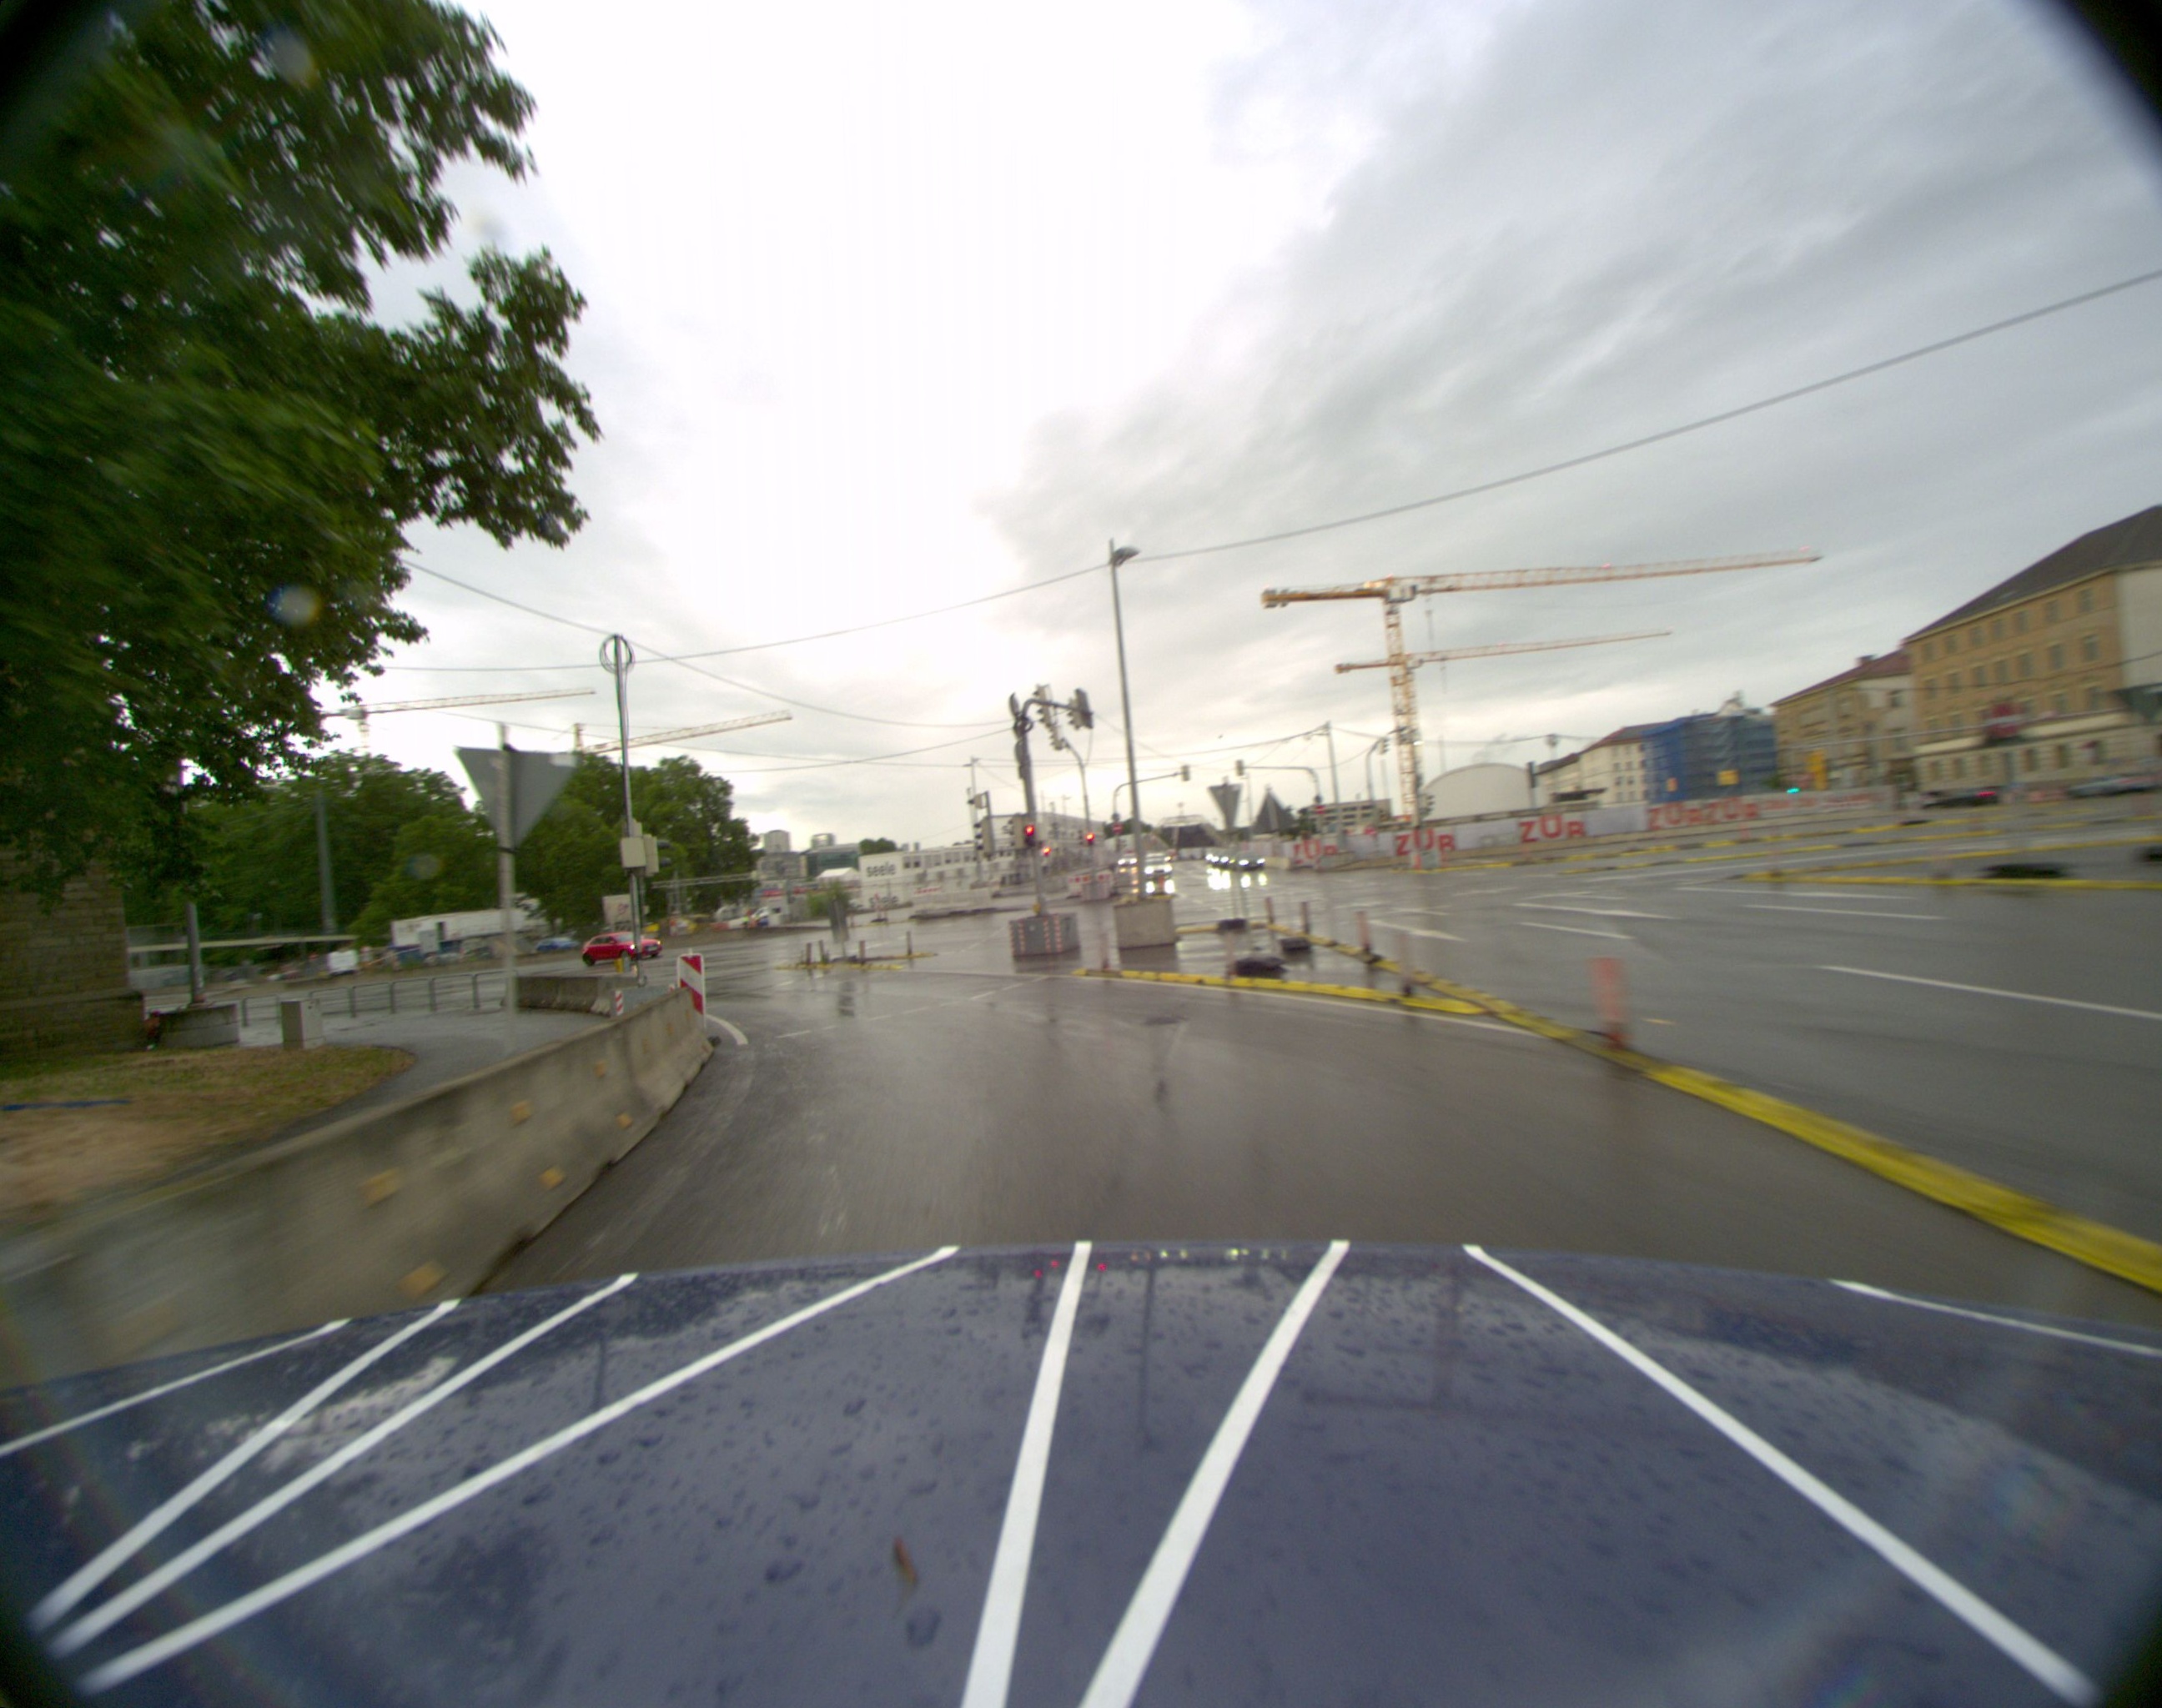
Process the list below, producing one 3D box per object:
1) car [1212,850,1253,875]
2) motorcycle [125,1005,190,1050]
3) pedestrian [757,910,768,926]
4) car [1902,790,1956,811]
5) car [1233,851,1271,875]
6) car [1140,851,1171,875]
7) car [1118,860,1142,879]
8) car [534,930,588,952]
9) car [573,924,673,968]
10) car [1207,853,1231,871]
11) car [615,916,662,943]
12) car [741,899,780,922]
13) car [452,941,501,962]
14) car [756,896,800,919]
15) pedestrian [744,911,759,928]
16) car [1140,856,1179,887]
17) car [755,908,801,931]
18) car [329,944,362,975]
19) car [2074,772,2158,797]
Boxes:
[{"bbox_3d":[12.339,0.716,62.160,1.999,1.707,4.423,-7,-1,-4],"label":"car"},{"bbox_3d":[-26.562,4.993,21.855,1.895,1.131,0.549,-7,-1,21],"label":"motorcycle"},{"bbox_3d":[-29.193,5.845,69.634,0.745,1.344,0.837,-7,0,-15],"label":"pedestrian"},{"bbox_3d":[72.232,-4.551,64.754,1.647,1.455,3.419,-7,1,23],"label":"car"},{"bbox_3d":[12.622,0.684,56.415,1.860,1.556,3.802,-7,-1,1],"label":"car"},{"bbox_3d":[6.306,0.763,64.567,1.998,1.761,4.358,-7,-1,0],"label":"car"},{"bbox_3d":[5.526,1.722,84.811,1.997,1.761,4.360,-7,-1,11],"label":"car"},{"bbox_3d":[-45.432,7.597,66.346,4.431,1.480,1.844,-7,-1,26],"label":"car"},{"bbox_3d":[-22.125,4.445,36.720,3.993,1.542,1.693,-7,-1,15],"label":"car"},{"bbox_3d":[13.851,0.805,76.302,1.997,1.548,4.528,-7,-1,8],"label":"car"},{"bbox_3d":[-47.388,8.131,81.378,3.992,2.369,2.003,-7,-1,21],"label":"car"},{"bbox_3d":[-40.839,7.184,96.851,3.999,2.370,1.999,-6,-1,-6],"label":"car"},{"bbox_3d":[-57.401,9.297,72.136,4.430,1.480,1.844,-7,-1,27],"label":"car"},{"bbox_3d":[-39.669,7.007,99.489,4.951,2.369,1.998,-6,-1,-15],"label":"car"},{"bbox_3d":[-29.828,5.938,68.800,0.836,1.344,0.746,-7,-1,27],"label":"pedestrian"},{"bbox_3d":[5.829,1.296,56.712,1.999,2.001,4.423,-7,-1,-4],"label":"car"},{"bbox_3d":[-27.480,5.929,69.093,1.998,1.499,4.002,-7,0,8],"label":"car"},{"bbox_3d":[-74.166,10.620,76.590,2.083,2.721,4.583,-6,-1,-45],"label":"car"},{"bbox_3d":[65.481,-4.386,48.170,1.580,1.339,3.811,-7,1,28],"label":"car"}]
